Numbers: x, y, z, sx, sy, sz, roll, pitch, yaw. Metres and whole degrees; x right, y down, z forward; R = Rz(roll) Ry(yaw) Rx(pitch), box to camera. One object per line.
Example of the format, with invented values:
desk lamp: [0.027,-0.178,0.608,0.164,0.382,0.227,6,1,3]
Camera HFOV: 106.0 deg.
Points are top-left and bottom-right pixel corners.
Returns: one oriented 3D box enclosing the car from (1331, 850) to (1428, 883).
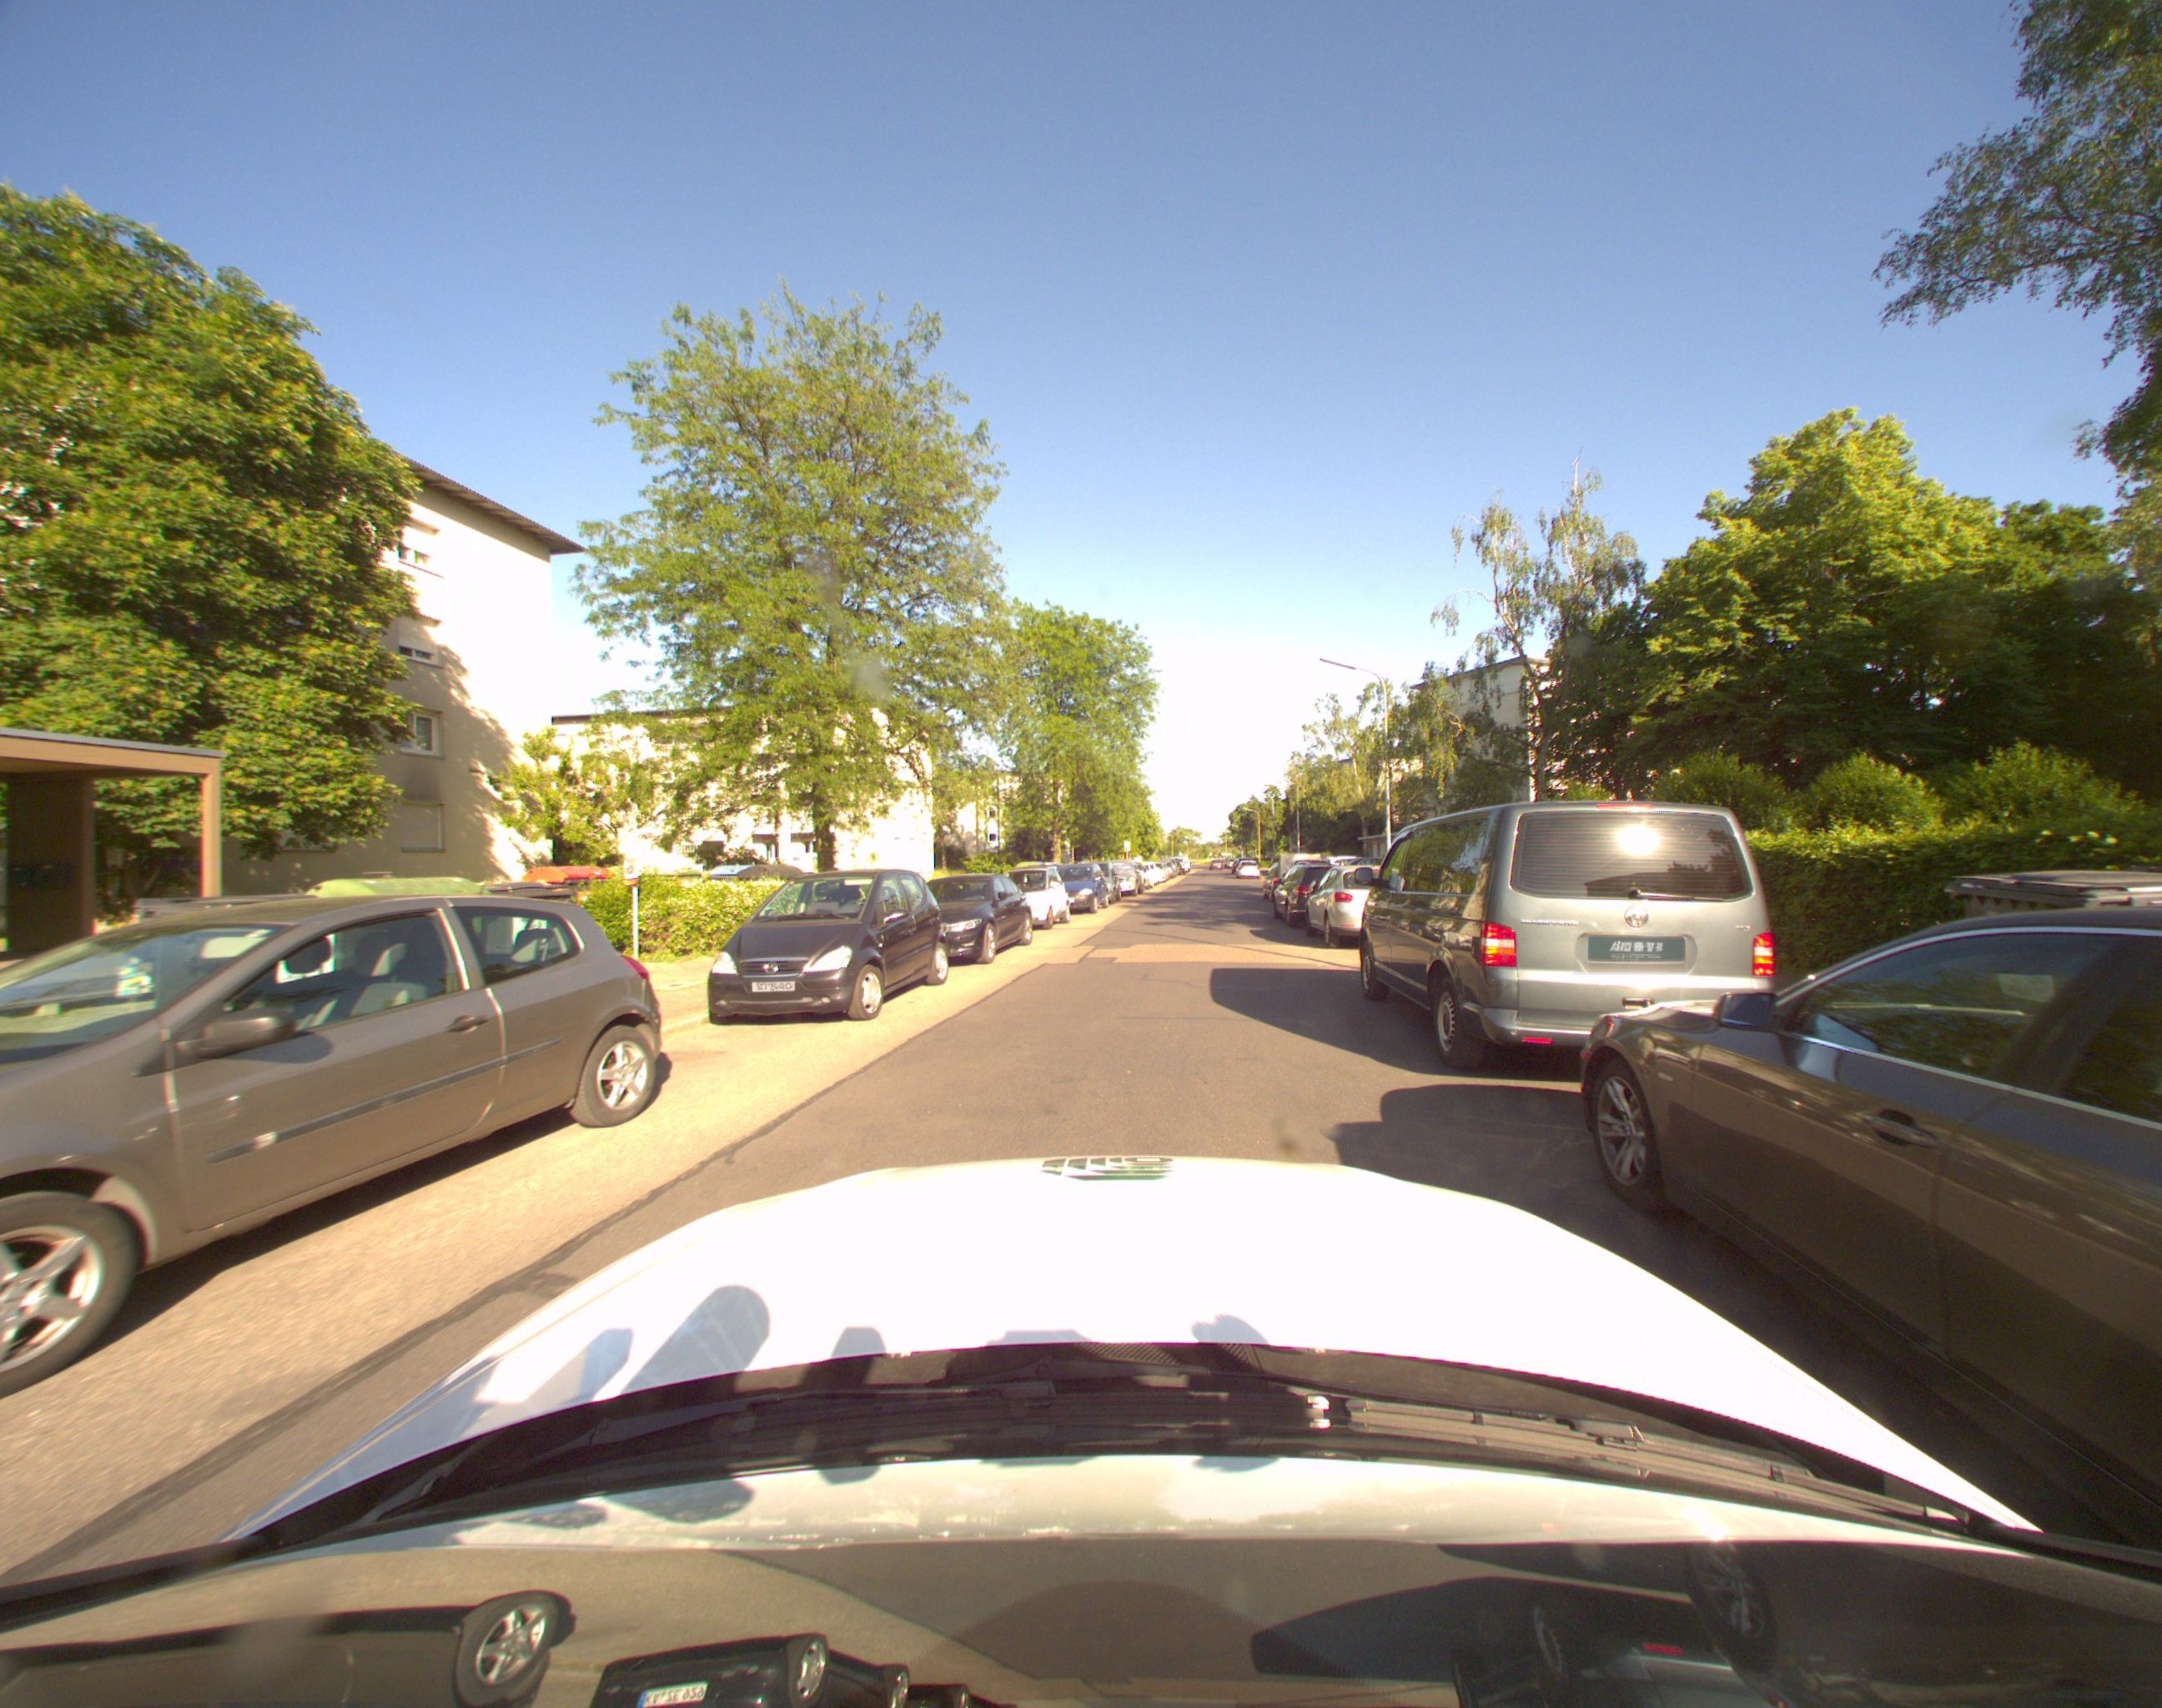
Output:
car: [15.680,0.641,42.966,4.485,1.513,1.834,-2,-1,10]

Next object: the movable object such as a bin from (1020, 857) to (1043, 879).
movable object such as a bin: [-3.277,0.928,54.237,1.170,1.420,1.467,1,0,11]

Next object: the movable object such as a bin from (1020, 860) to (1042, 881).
movable object such as a bin: [-3.431,1.113,55.925,1.170,1.420,1.467,1,0,11]

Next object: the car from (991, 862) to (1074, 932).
car: [-1.174,1.046,20.913,1.436,1.574,3.149,-4,-1,8]

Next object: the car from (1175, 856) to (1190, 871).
car: [13.095,1.200,104.668,1.736,1.732,4.015,-3,-1,9]

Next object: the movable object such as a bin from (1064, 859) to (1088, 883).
movable object such as a bin: [-0.281,0.993,47.378,1.129,1.358,1.247,1,0,10]

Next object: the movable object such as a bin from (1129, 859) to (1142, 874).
movable object such as a bin: [5.493,1.246,81.885,1.095,1.420,1.364,1,0,9]

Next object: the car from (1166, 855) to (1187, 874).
car: [10.704,1.134,90.987,1.903,1.962,5.101,-3,-1,9]

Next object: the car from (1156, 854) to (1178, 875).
car: [8.050,0.968,75.868,1.844,1.892,4.427,-3,-1,8]

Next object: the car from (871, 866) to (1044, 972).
car: [-2.002,1.024,14.637,1.744,1.481,4.548,-4,-1,8]

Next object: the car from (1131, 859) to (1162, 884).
car: [4.328,1.110,53.541,1.677,1.535,3.900,-2,-1,8]

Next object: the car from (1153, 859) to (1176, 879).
car: [7.167,1.260,69.531,1.700,1.600,3.994,-4,-1,7]

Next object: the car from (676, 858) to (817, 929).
car: [-8.415,0.936,20.901,1.562,1.641,4.008,0,0,7]

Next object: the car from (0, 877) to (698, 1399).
car: [-3.913,0.952,3.832,1.743,1.481,3.971,-4,-1,11]

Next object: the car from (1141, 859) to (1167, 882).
car: [5.365,1.176,59.242,1.677,1.505,3.826,-2,-1,7]

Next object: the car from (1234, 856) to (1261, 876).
car: [13.255,0.957,64.963,1.744,1.513,4.112,0,0,7]

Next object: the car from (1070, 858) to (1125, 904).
car: [0.689,0.993,31.516,1.626,1.606,3.543,-2,-1,8]

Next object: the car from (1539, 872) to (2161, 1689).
car: [2.970,0.800,2.032,1.789,1.419,4.649,0,0,11]

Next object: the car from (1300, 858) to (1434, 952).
car: [5.127,0.825,15.072,1.613,1.490,4.045,0,0,8]

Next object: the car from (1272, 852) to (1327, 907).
car: [7.156,0.794,26.849,1.480,1.718,2.589,0,0,9]

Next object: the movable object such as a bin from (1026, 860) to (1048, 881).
movable object such as a bin: [-3.120,1.128,57.419,1.170,1.420,1.467,1,0,11]

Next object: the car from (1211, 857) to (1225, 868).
car: [19.239,1.128,114.407,1.671,1.513,4.112,0,0,7]

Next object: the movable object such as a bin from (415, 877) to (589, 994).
movable object such as a bin: [-7.289,0.986,10.337,1.170,1.340,1.347,-1,0,10]

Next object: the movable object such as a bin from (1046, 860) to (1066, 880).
movable object such as a bin: [-1.787,1.122,57.636,1.127,1.420,1.365,1,0,10]

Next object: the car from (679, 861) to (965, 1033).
car: [-2.793,0.927,9.741,1.744,1.574,3.728,-4,-1,8]

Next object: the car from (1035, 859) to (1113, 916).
car: [-0.140,1.013,26.511,1.743,1.606,3.979,-4,-1,10]

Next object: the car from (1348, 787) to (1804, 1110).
car: [3.770,0.570,7.338,1.842,1.934,4.716,0,0,8]

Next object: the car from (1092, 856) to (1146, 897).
car: [1.787,0.970,36.902,1.892,1.640,4.360,-2,-1,9]

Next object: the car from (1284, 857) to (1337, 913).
car: [6.706,0.867,23.957,1.405,1.523,2.567,0,0,13]

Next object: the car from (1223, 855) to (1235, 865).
car: [26.612,1.054,146.599,1.786,1.643,3.959,0,0,7]

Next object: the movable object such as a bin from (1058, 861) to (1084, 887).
movable object such as a bin: [-0.553,1.115,45.947,1.129,1.382,1.446,1,0,10]

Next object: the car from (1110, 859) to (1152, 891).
car: [2.649,1.040,42.543,1.652,1.513,3.957,-2,-1,10]

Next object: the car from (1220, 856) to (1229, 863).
car: [31.932,1.183,181.434,1.786,1.549,3.959,0,0,7]

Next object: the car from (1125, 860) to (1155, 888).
car: [3.393,1.148,47.293,1.656,1.513,3.540,-2,-1,3]

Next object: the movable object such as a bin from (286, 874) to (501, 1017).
movable object such as a bin: [-7.479,0.942,8.943,1.170,1.408,1.347,-1,0,10]

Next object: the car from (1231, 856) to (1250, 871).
car: [16.983,1.023,86.810,1.896,1.531,4.339,-1,0,9]

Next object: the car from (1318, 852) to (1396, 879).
car: [17.290,0.708,51.210,4.388,1.513,1.834,-2,-1,9]

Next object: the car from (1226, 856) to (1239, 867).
car: [23.465,1.175,126.443,1.786,1.561,3.959,0,0,7]

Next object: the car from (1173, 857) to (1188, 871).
car: [12.132,1.225,99.180,1.737,1.669,4.386,-3,-1,6]

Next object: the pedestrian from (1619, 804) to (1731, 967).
pedestrian: [7.283,0.380,10.041,0.699,1.888,0.875,-4,-1,10]

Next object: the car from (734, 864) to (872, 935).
car: [-6.618,1.015,19.875,1.562,1.525,4.008,0,0,7]

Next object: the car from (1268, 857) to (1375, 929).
car: [5.682,0.847,19.775,1.722,1.490,4.510,-2,-1,7]

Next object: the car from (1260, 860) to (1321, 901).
car: [7.800,0.934,30.568,1.722,1.403,3.902,0,0,7]

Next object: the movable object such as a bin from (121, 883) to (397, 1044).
movable object such as a bin: [-7.489,0.939,7.515,1.170,1.288,1.347,-1,0,10]

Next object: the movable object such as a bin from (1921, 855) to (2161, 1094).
movable object such as a bin: [6.590,0.702,5.267,1.018,1.310,1.393,-5,-1,19]

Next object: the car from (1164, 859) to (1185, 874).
car: [9.808,1.287,84.906,1.735,1.533,4.152,-3,-1,11]

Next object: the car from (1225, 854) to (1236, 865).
car: [26.127,0.972,142.343,1.786,1.786,3.959,0,0,7]

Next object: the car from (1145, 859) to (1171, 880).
car: [6.154,1.194,64.750,1.677,1.465,4.536,-4,-1,9]
